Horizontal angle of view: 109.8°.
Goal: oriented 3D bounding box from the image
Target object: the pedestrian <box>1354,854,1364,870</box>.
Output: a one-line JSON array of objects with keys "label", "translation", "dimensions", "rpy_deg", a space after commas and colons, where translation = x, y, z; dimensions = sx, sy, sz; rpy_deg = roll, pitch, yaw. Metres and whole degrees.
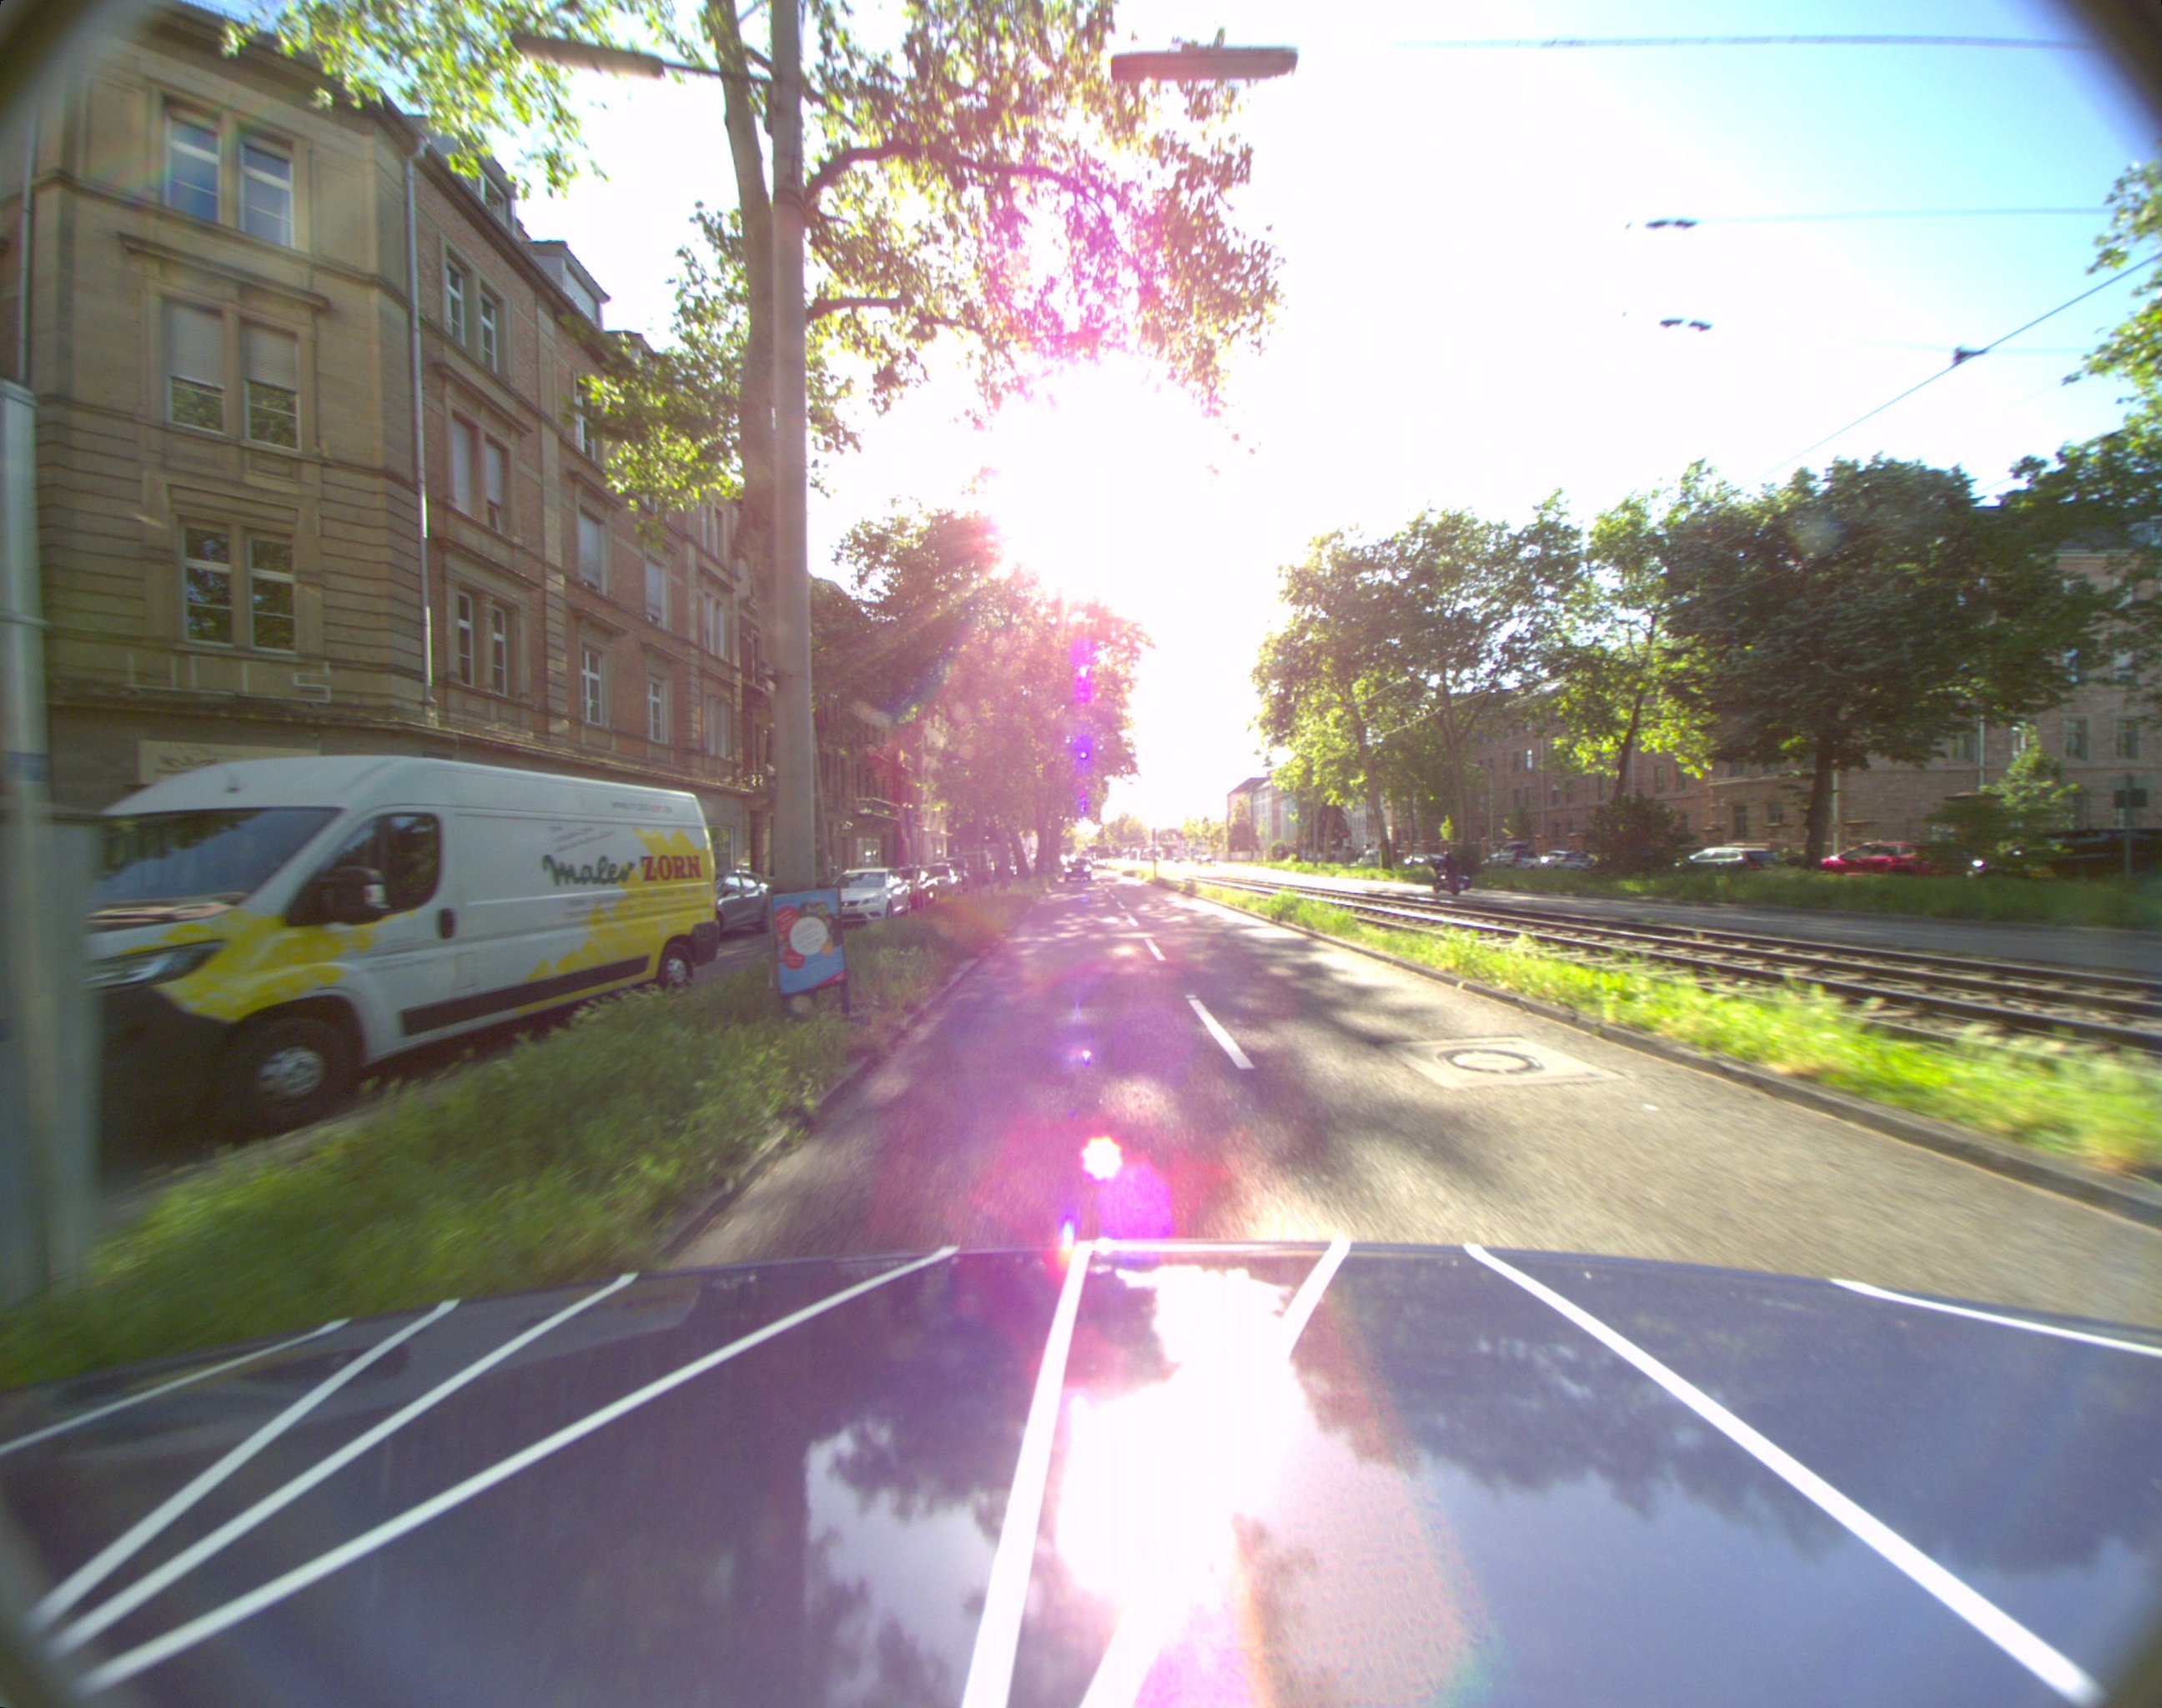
[{"label": "pedestrian", "translation": [33.167, 0.933, 90.627], "dimensions": [0.903, 1.888, 0.942], "rpy_deg": [-1, 0, 1]}]

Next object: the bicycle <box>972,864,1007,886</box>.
[{"label": "bicycle", "translation": [-5.874, 1.321, 48.808], "dimensions": [2.171, 1.286, 0.982], "rpy_deg": [-2, 0, -11]}]

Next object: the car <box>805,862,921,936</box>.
[{"label": "car", "translation": [-5.504, 1.066, 19.728], "dimensions": [1.758, 1.563, 4.184], "rpy_deg": [-4, 0, -1]}]

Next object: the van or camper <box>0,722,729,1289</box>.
[{"label": "van or camper", "translation": [-5.699, 0.699, 6.433], "dimensions": [2.189, 2.466, 6.269], "rpy_deg": [-3, 0, 2]}]

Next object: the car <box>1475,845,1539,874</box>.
[{"label": "car", "translation": [26.902, 0.352, 48.111], "dimensions": [1.772, 1.709, 4.421], "rpy_deg": [-1, 0, 4]}]

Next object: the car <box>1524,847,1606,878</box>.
[{"label": "car", "translation": [27.015, 0.489, 42.619], "dimensions": [1.998, 1.606, 4.421], "rpy_deg": [-1, 0, 4]}]

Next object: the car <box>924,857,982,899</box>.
[{"label": "car", "translation": [-5.734, 1.034, 34.602], "dimensions": [1.896, 1.637, 4.799], "rpy_deg": [-4, 0, -2]}]

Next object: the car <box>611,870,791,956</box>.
[{"label": "car", "translation": [-8.193, 1.191, 16.879], "dimensions": [1.758, 1.569, 4.185], "rpy_deg": [0, 0, 3]}]

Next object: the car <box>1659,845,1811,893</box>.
[{"label": "car", "translation": [26.995, 0.598, 31.626], "dimensions": [2.114, 1.798, 4.737], "rpy_deg": [-1, 0, -2]}]

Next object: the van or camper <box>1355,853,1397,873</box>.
[{"label": "van or camper", "translation": [26.727, 0.778, 69.006], "dimensions": [1.999, 1.777, 4.431], "rpy_deg": [0, 0, -2]}]

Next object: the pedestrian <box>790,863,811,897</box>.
[{"label": "pedestrian", "translation": [-12.785, 1.168, 34.620], "dimensions": [0.649, 1.537, 0.693], "rpy_deg": [-1, 1, -2]}]

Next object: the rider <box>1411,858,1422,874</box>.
[{"label": "rider", "translation": [33.672, 1.194, 76.224], "dimensions": [0.730, 1.635, 0.686], "rpy_deg": [-1, 0, 0]}]

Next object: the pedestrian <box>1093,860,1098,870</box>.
[{"label": "pedestrian", "translation": [2.510, 1.933, 131.883], "dimensions": [0.955, 1.725, 0.730], "rpy_deg": [-1, 0, 2]}]

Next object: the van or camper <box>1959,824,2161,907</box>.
[{"label": "van or camper", "translation": [27.248, 0.247, 19.979], "dimensions": [2.272, 2.002, 5.216], "rpy_deg": [-1, 0, -1]}]

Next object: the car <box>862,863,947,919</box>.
[{"label": "car", "translation": [-5.616, 1.122, 24.670], "dimensions": [1.758, 1.488, 4.184], "rpy_deg": [-4, 0, -1]}]

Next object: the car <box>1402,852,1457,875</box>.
[{"label": "car", "translation": [26.689, 0.735, 58.366], "dimensions": [1.998, 1.639, 4.827], "rpy_deg": [-1, -1, 0]}]

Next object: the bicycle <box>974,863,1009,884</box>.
[{"label": "bicycle", "translation": [-5.879, 1.310, 50.095], "dimensions": [2.169, 1.286, 0.983], "rpy_deg": [-2, 0, 0]}]

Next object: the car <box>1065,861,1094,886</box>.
[{"label": "car", "translation": [-0.047, 1.376, 56.237], "dimensions": [1.979, 1.660, 4.620], "rpy_deg": [-2, 0, 1]}]

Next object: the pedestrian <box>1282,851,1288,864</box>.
[{"label": "pedestrian", "translation": [32.156, 0.540, 119.859], "dimensions": [0.664, 2.002, 0.860], "rpy_deg": [-1, 0, -1]}]

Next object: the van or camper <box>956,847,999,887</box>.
[{"label": "van or camper", "translation": [-5.927, 0.713, 44.118], "dimensions": [1.838, 2.085, 4.773], "rpy_deg": [-4, 0, -2]}]

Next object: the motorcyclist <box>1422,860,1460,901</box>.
[{"label": "motorcyclist", "translation": [13.492, 0.972, 28.501], "dimensions": [0.946, 1.504, 0.959], "rpy_deg": [-1, 0, 0]}]

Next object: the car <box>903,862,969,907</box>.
[{"label": "car", "translation": [-5.524, 1.105, 29.416], "dimensions": [1.741, 1.455, 4.364], "rpy_deg": [-4, 0, -1]}]

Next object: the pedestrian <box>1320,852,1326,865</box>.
[{"label": "pedestrian", "translation": [34.708, 0.664, 109.104], "dimensions": [0.694, 1.826, 0.573], "rpy_deg": [-1, 0, -1]}]

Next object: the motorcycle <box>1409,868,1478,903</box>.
[{"label": "motorcycle", "translation": [13.502, 1.144, 28.448], "dimensions": [0.966, 1.205, 3.351], "rpy_deg": [-1, 0, 0]}]

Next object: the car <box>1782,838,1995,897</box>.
[{"label": "car", "translation": [27.132, 0.427, 25.829], "dimensions": [2.114, 1.798, 4.738], "rpy_deg": [-1, 0, -2]}]
